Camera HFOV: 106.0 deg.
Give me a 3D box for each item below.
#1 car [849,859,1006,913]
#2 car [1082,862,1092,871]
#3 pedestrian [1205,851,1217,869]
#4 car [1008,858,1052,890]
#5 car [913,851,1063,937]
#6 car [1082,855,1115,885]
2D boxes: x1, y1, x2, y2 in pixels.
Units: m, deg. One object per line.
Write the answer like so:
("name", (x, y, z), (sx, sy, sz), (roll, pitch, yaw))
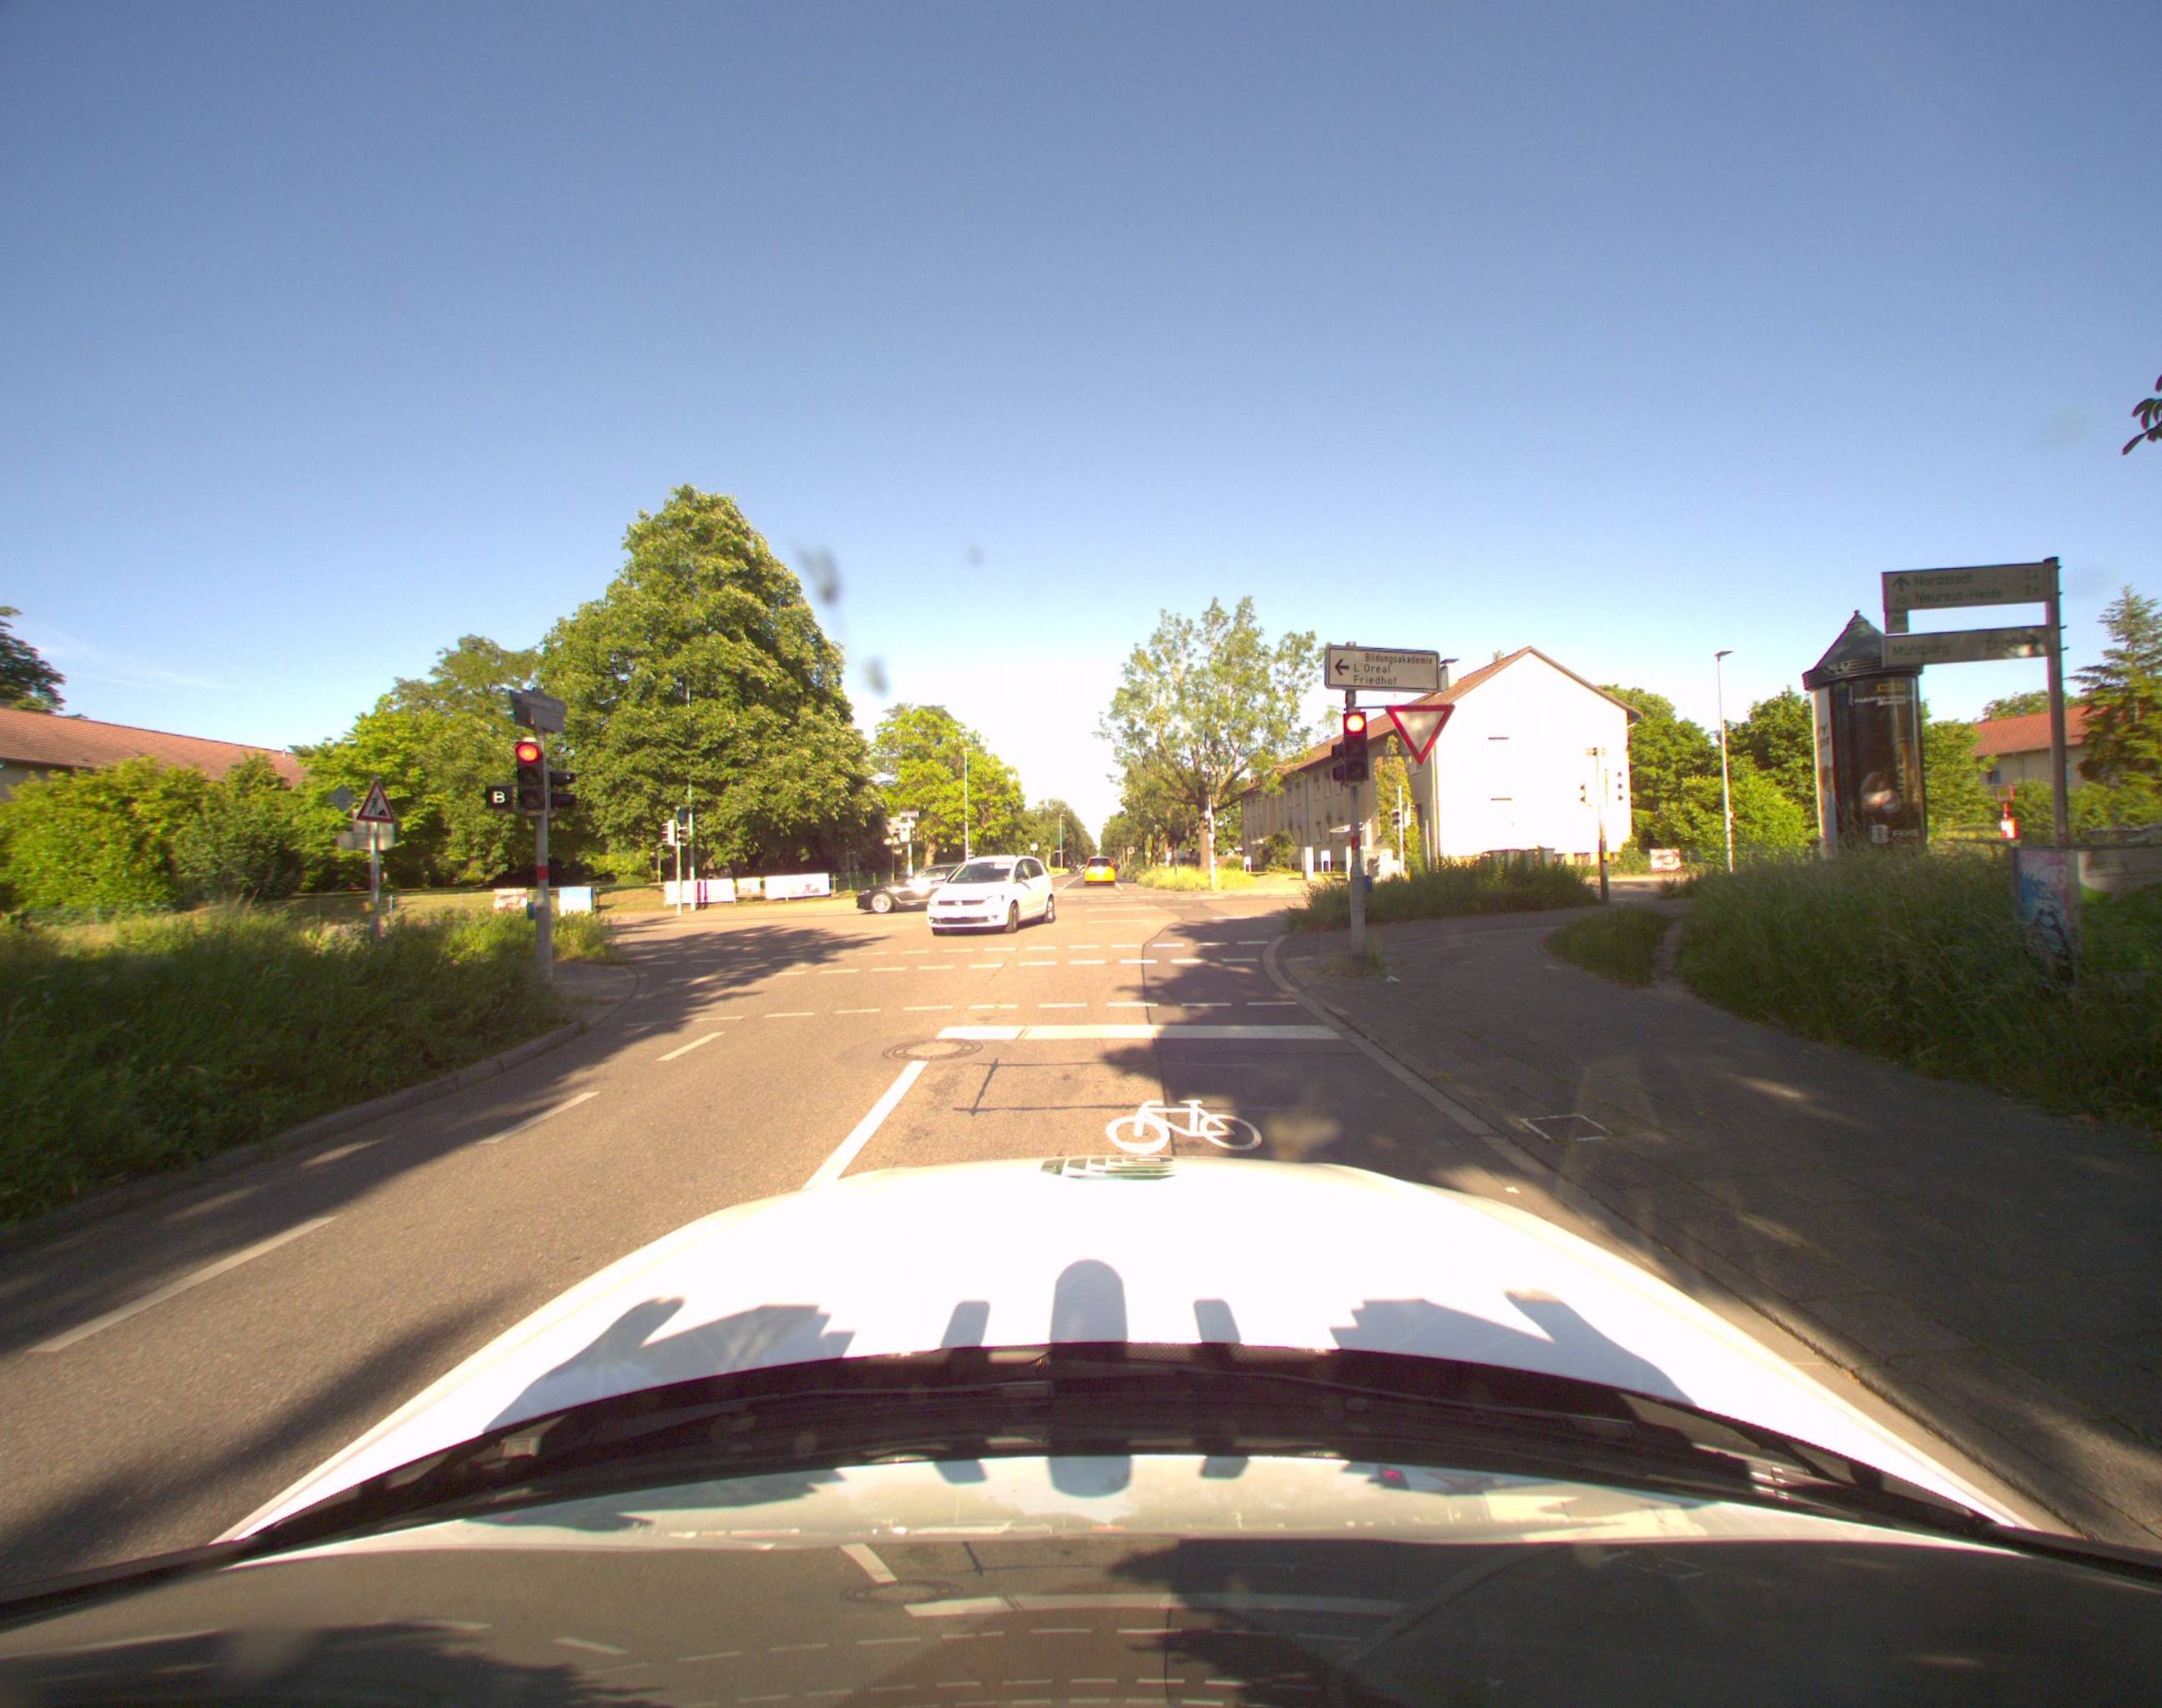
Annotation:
("car", (-4.822, 0.976, 26.083), (4.725, 1.430, 1.994), (-3, 0, -8))
("car", (1.110, 2.352, 156.534), (1.751, 1.624, 3.271), (-2, 0, 3))
("pedestrian", (10.582, 0.486, 66.376), (0.839, 1.493, 0.924), (1, 0, 1))
("car", (-2.385, 0.924, 38.810), (1.704, 1.385, 3.473), (-2, 0, 3))
("car", (-1.852, 0.777, 17.599), (1.739, 1.563, 4.137), (-3, 0, 15))
("car", (1.021, 0.890, 45.192), (1.745, 1.582, 4.002), (-1, -1, 2))
